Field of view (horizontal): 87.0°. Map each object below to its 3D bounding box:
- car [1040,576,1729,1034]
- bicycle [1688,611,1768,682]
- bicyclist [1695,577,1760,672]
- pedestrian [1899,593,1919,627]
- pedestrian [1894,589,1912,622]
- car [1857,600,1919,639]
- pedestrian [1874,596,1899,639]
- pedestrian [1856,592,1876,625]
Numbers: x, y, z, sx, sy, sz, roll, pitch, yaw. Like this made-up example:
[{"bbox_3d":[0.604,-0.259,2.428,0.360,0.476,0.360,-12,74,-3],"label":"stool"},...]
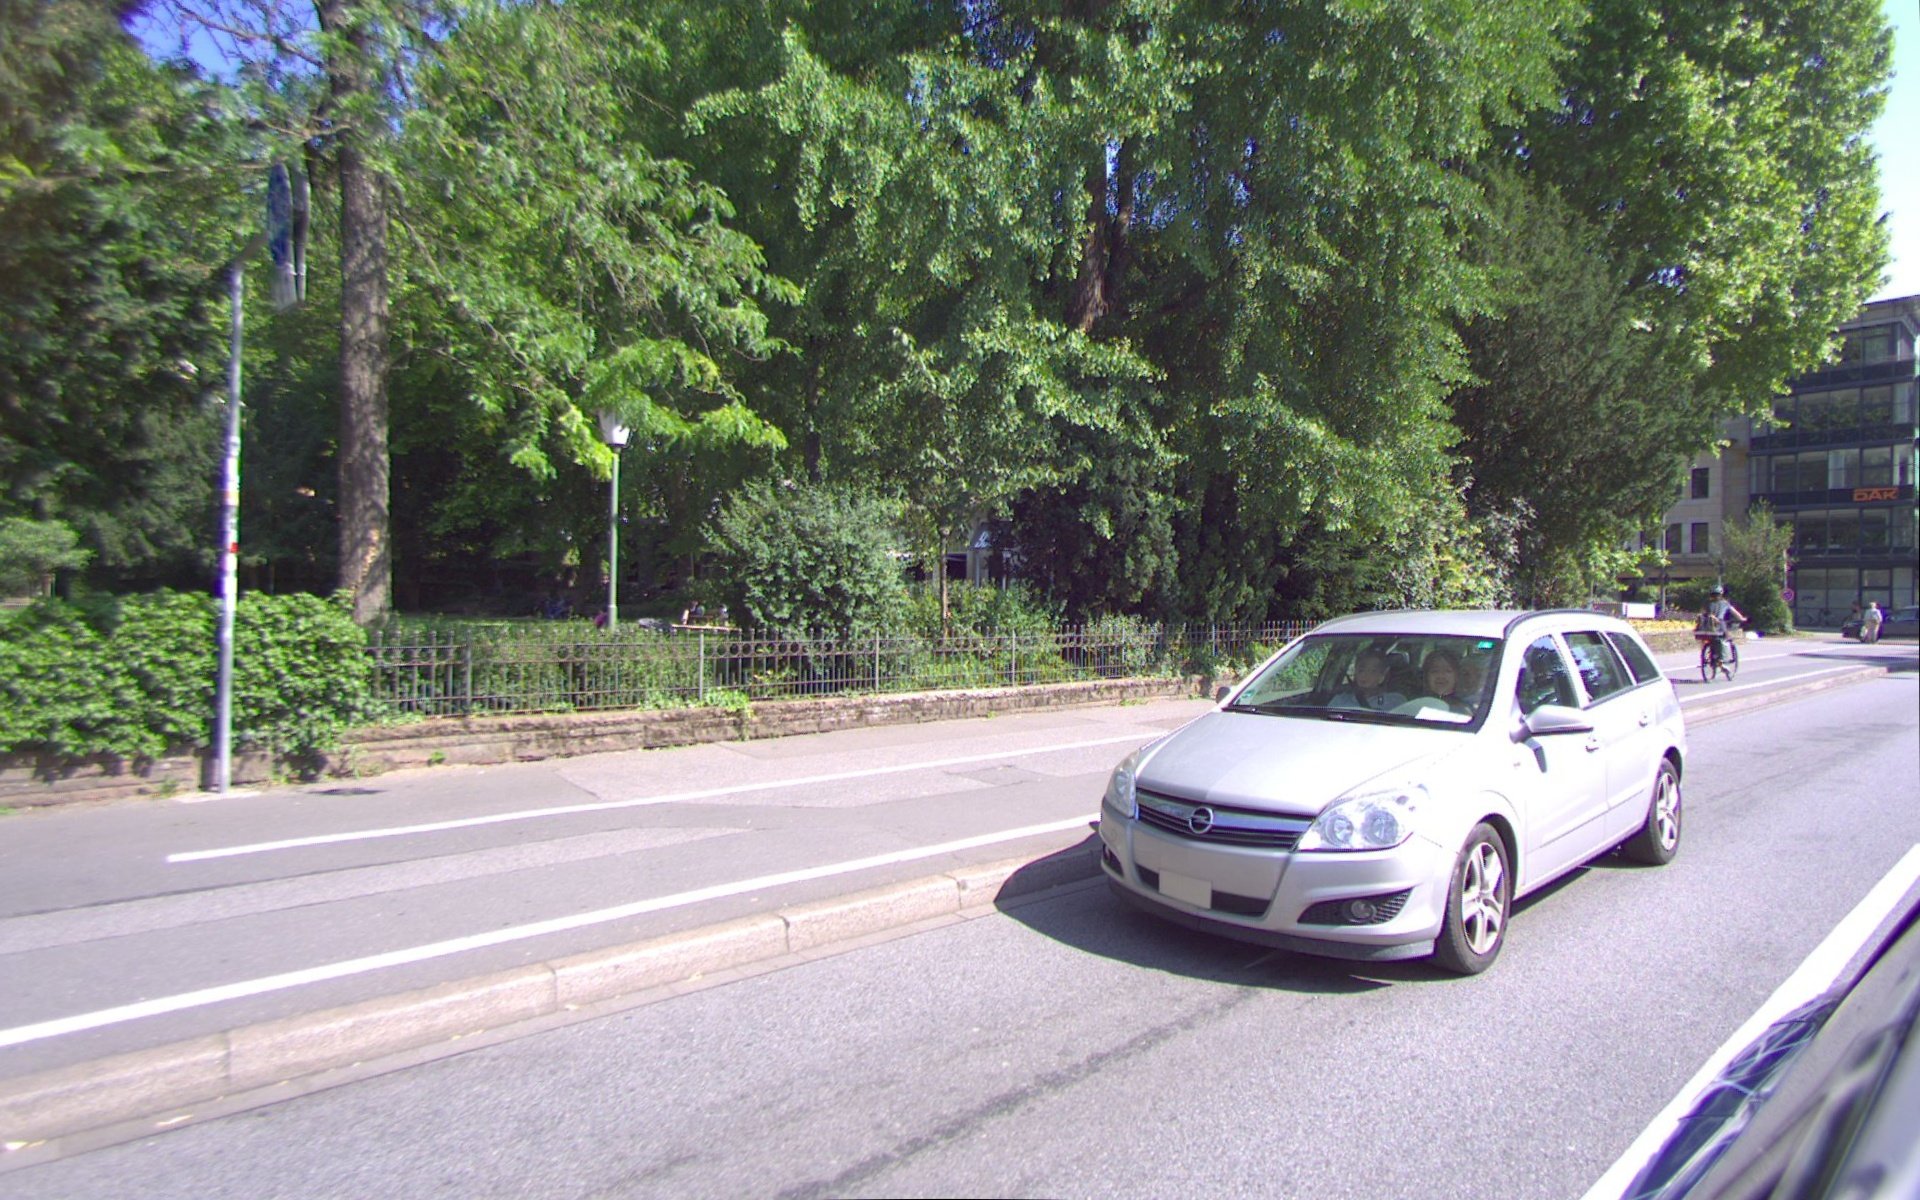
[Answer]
[{"bbox_3d":[2.565,0.717,5.490,4.329,1.541,1.710,1,-1,-41],"label":"car"},{"bbox_3d":[13.776,0.805,18.136,1.967,1.134,0.759,-1,2,-41],"label":"bicycle"},{"bbox_3d":[13.806,0.414,18.209,0.927,1.656,0.765,0,1,-42],"label":"bicyclist"},{"bbox_3d":[48.060,0.506,51.269,0.635,1.727,0.653,1,-1,-40],"label":"pedestrian"},{"bbox_3d":[50.723,0.296,54.448,0.593,1.727,0.602,1,-1,-35],"label":"pedestrian"},{"bbox_3d":[39.818,0.804,41.565,4.405,1.574,1.658,0,0,45],"label":"car"},{"bbox_3d":[36.862,0.673,40.265,0.525,1.694,0.710,1,0,-43],"label":"pedestrian"},{"bbox_3d":[47.126,0.434,52.614,0.592,1.727,0.689,1,-1,-40],"label":"pedestrian"}]
